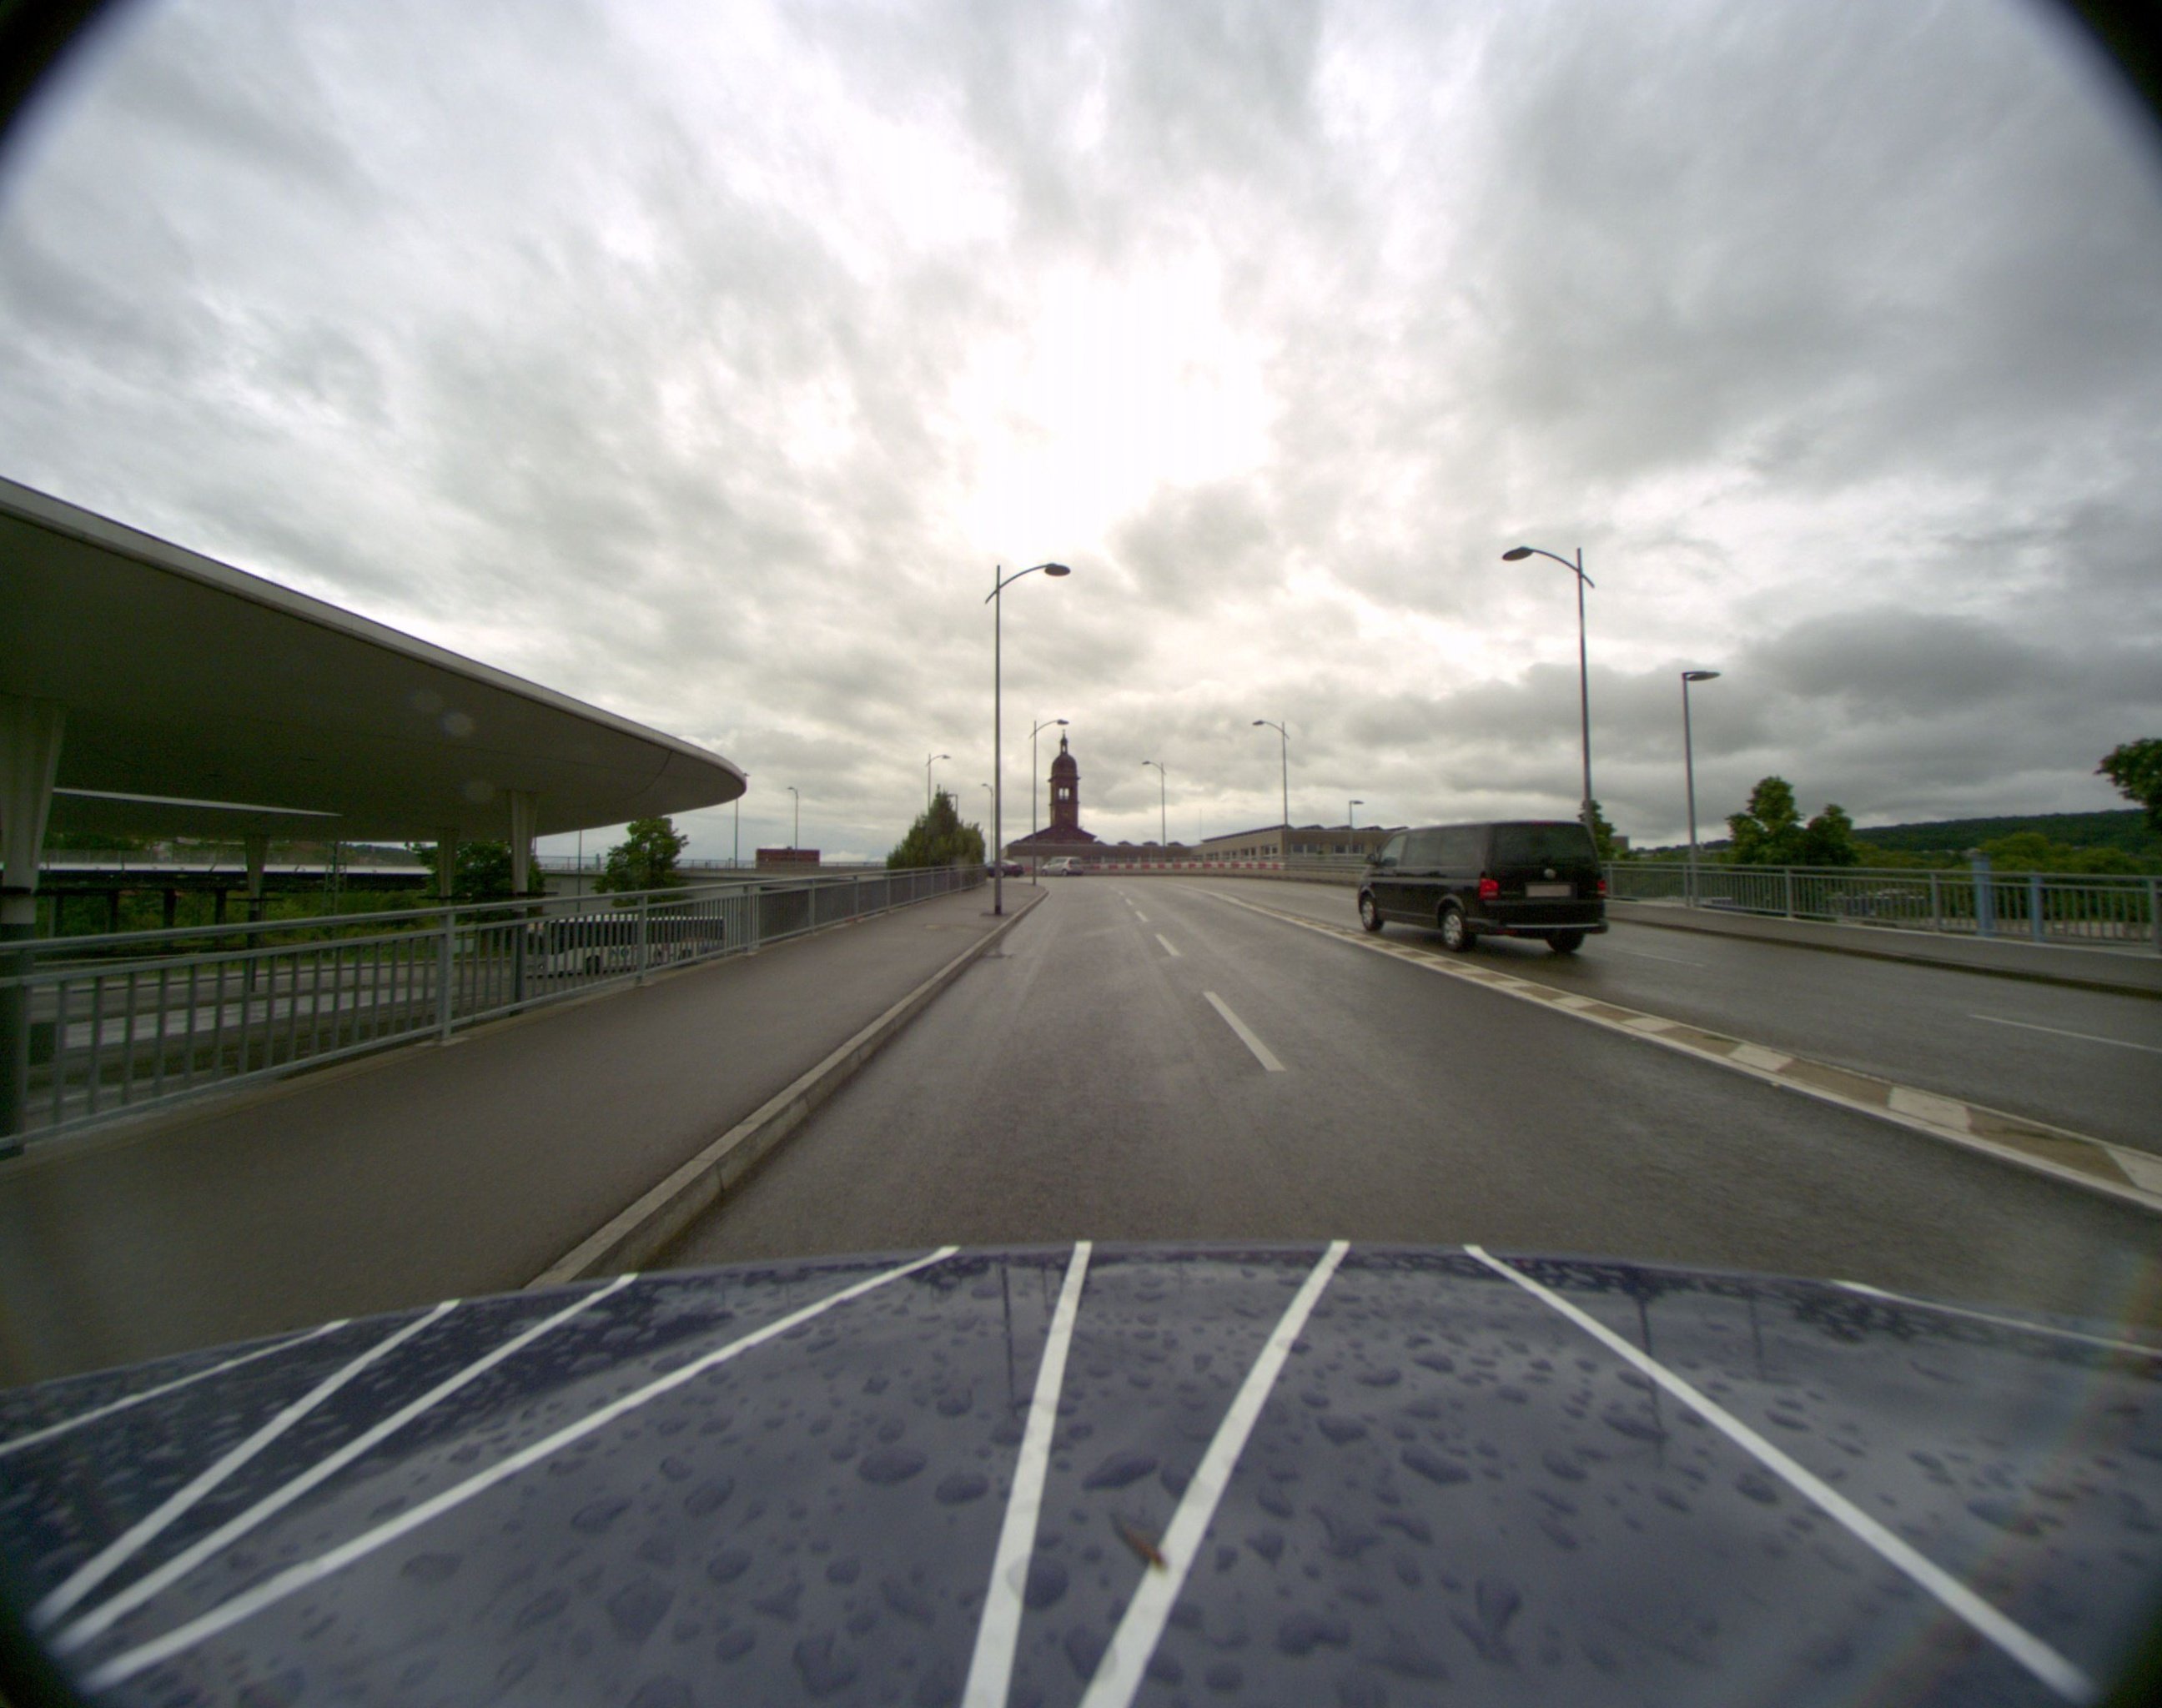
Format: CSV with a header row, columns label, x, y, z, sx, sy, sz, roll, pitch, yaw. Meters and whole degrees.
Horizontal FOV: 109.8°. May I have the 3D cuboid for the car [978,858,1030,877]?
label,x,y,z,sx,sy,sz,roll,pitch,yaw
car,-6.309,1.065,62.210,4.444,1.482,1.676,1,1,41

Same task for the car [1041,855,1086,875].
label,x,y,z,sx,sy,sz,roll,pitch,yaw
car,-1.451,0.870,63.161,1.653,1.599,3.699,-1,1,-45

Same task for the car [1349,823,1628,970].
label,x,y,z,sx,sy,sz,roll,pitch,yaw
car,6.265,0.542,12.477,1.850,1.956,4.683,0,1,-3

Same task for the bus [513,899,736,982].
label,x,y,z,sx,sy,sz,roll,pitch,yaw
bus,-26.392,4.853,45.184,2.791,3.238,12.156,-2,1,20
